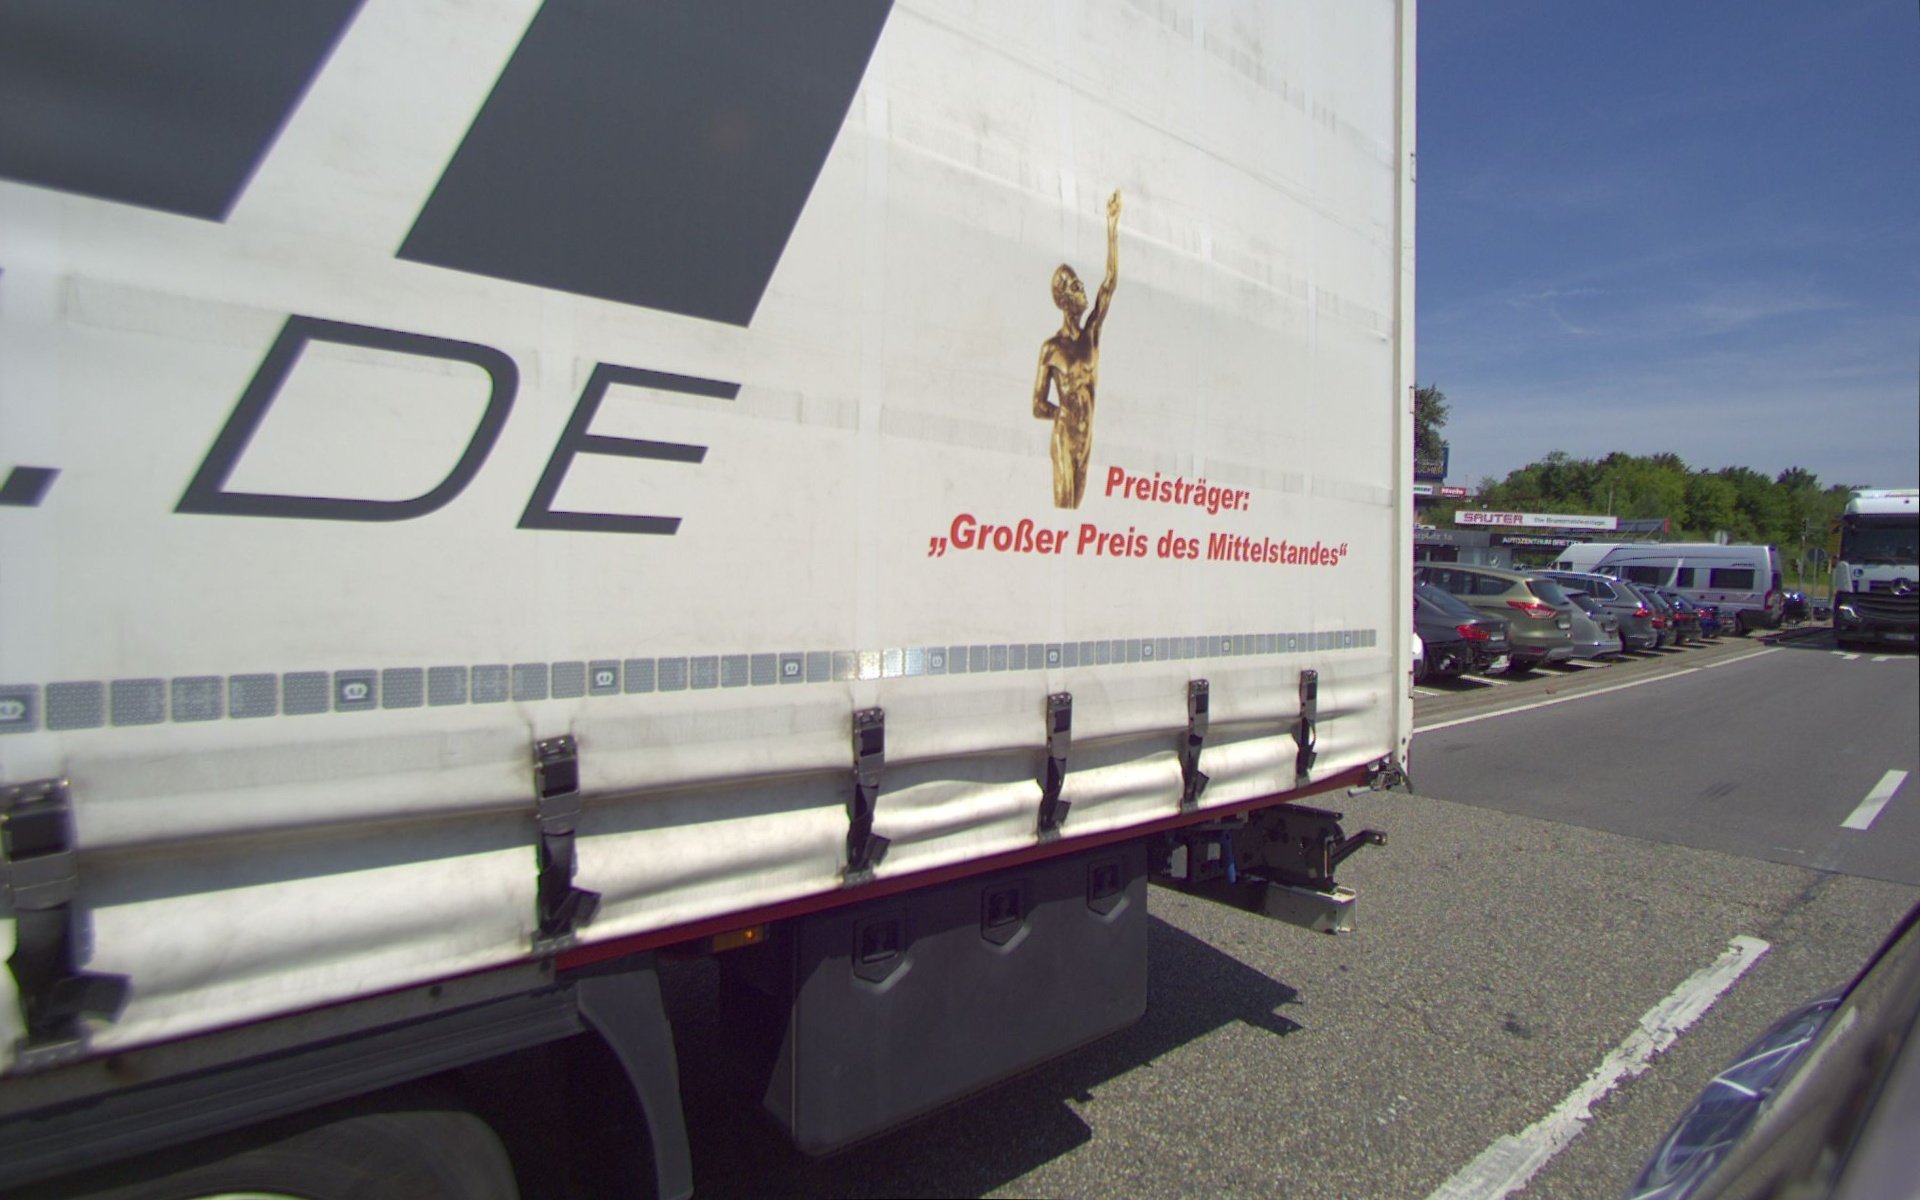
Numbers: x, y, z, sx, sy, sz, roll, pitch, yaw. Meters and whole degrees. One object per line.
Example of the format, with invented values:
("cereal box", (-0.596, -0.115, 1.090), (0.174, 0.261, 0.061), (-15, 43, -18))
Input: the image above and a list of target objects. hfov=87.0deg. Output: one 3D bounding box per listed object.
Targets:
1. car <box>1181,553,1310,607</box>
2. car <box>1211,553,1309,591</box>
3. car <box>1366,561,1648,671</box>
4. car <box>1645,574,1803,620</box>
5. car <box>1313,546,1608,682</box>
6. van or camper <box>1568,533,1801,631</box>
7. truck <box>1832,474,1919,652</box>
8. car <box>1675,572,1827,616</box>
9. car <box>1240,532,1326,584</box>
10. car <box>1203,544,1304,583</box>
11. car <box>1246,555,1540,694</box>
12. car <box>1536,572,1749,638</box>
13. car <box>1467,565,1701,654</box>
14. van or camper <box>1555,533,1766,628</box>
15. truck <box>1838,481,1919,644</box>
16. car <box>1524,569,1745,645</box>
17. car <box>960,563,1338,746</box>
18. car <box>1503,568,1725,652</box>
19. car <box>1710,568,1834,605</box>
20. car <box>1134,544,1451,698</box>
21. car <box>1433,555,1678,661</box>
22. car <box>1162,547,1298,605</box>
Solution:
("car", (10.008, -0.729, 35.572), (3.972, 1.592, 1.834), (5, 4, 32))
("car", (12.092, -1.137, 40.803), (3.564, 1.468, 1.663), (1, 1, 27))
("car", (9.922, 0.189, 18.587), (1.764, 1.438, 4.141), (-1, 7, -45))
("car", (27.433, -0.168, 36.422), (4.327, 1.517, 2.049), (2, 2, 44))
("car", (8.218, 0.121, 16.869), (1.910, 1.711, 3.864), (-1, 7, -42))
("van or camper", (22.269, -0.636, 31.339), (2.194, 2.763, 5.485), (-1, 2, -41))
("truck", (24.036, -0.889, 25.284), (2.974, 4.058, 6.229), (5, 4, 43))
("car", (29.717, -0.270, 38.101), (4.327, 1.517, 2.049), (2, 2, 44))
("car", (15.350, -2.032, 48.184), (1.655, 1.590, 3.603), (-21, 22, -34))
("car", (11.131, -1.364, 38.387), (3.559, 1.391, 1.665), (0, 1, 23))
("car", (6.404, 0.256, 15.191), (1.803, 1.495, 3.532), (-1, 8, -45))
("car", (18.569, 0.059, 27.698), (1.752, 1.537, 4.521), (-1, 3, -42))
("car", (13.720, 0.119, 22.392), (4.015, 1.499, 1.947), (8, 6, 44))
("van or camper", (23.312, -0.714, 33.879), (2.194, 2.941, 5.378), (0, 2, -41))
("truck", (28.742, -1.049, 30.370), (2.974, 4.058, 13.905), (5, 4, 43))
("car", (17.047, 0.090, 25.706), (4.269, 1.429, 2.129), (8, 7, 44))
("car", (2.153, 0.422, 11.053), (3.932, 1.449, 1.999), (-2, 8, -42))
("car", (15.286, 0.152, 23.785), (4.015, 1.499, 1.947), (8, 6, 44))
("car", (40.853, -0.705, 51.016), (4.412, 1.426, 1.739), (6, 4, 14))
("car", (4.377, 0.164, 13.631), (1.803, 1.495, 3.532), (-1, 8, -45))
("car", (12.048, 0.060, 20.640), (3.997, 1.694, 2.176), (6, 5, 33))
("car", (8.694, -0.801, 32.601), (3.958, 1.708, 1.840), (3, 3, 25))
